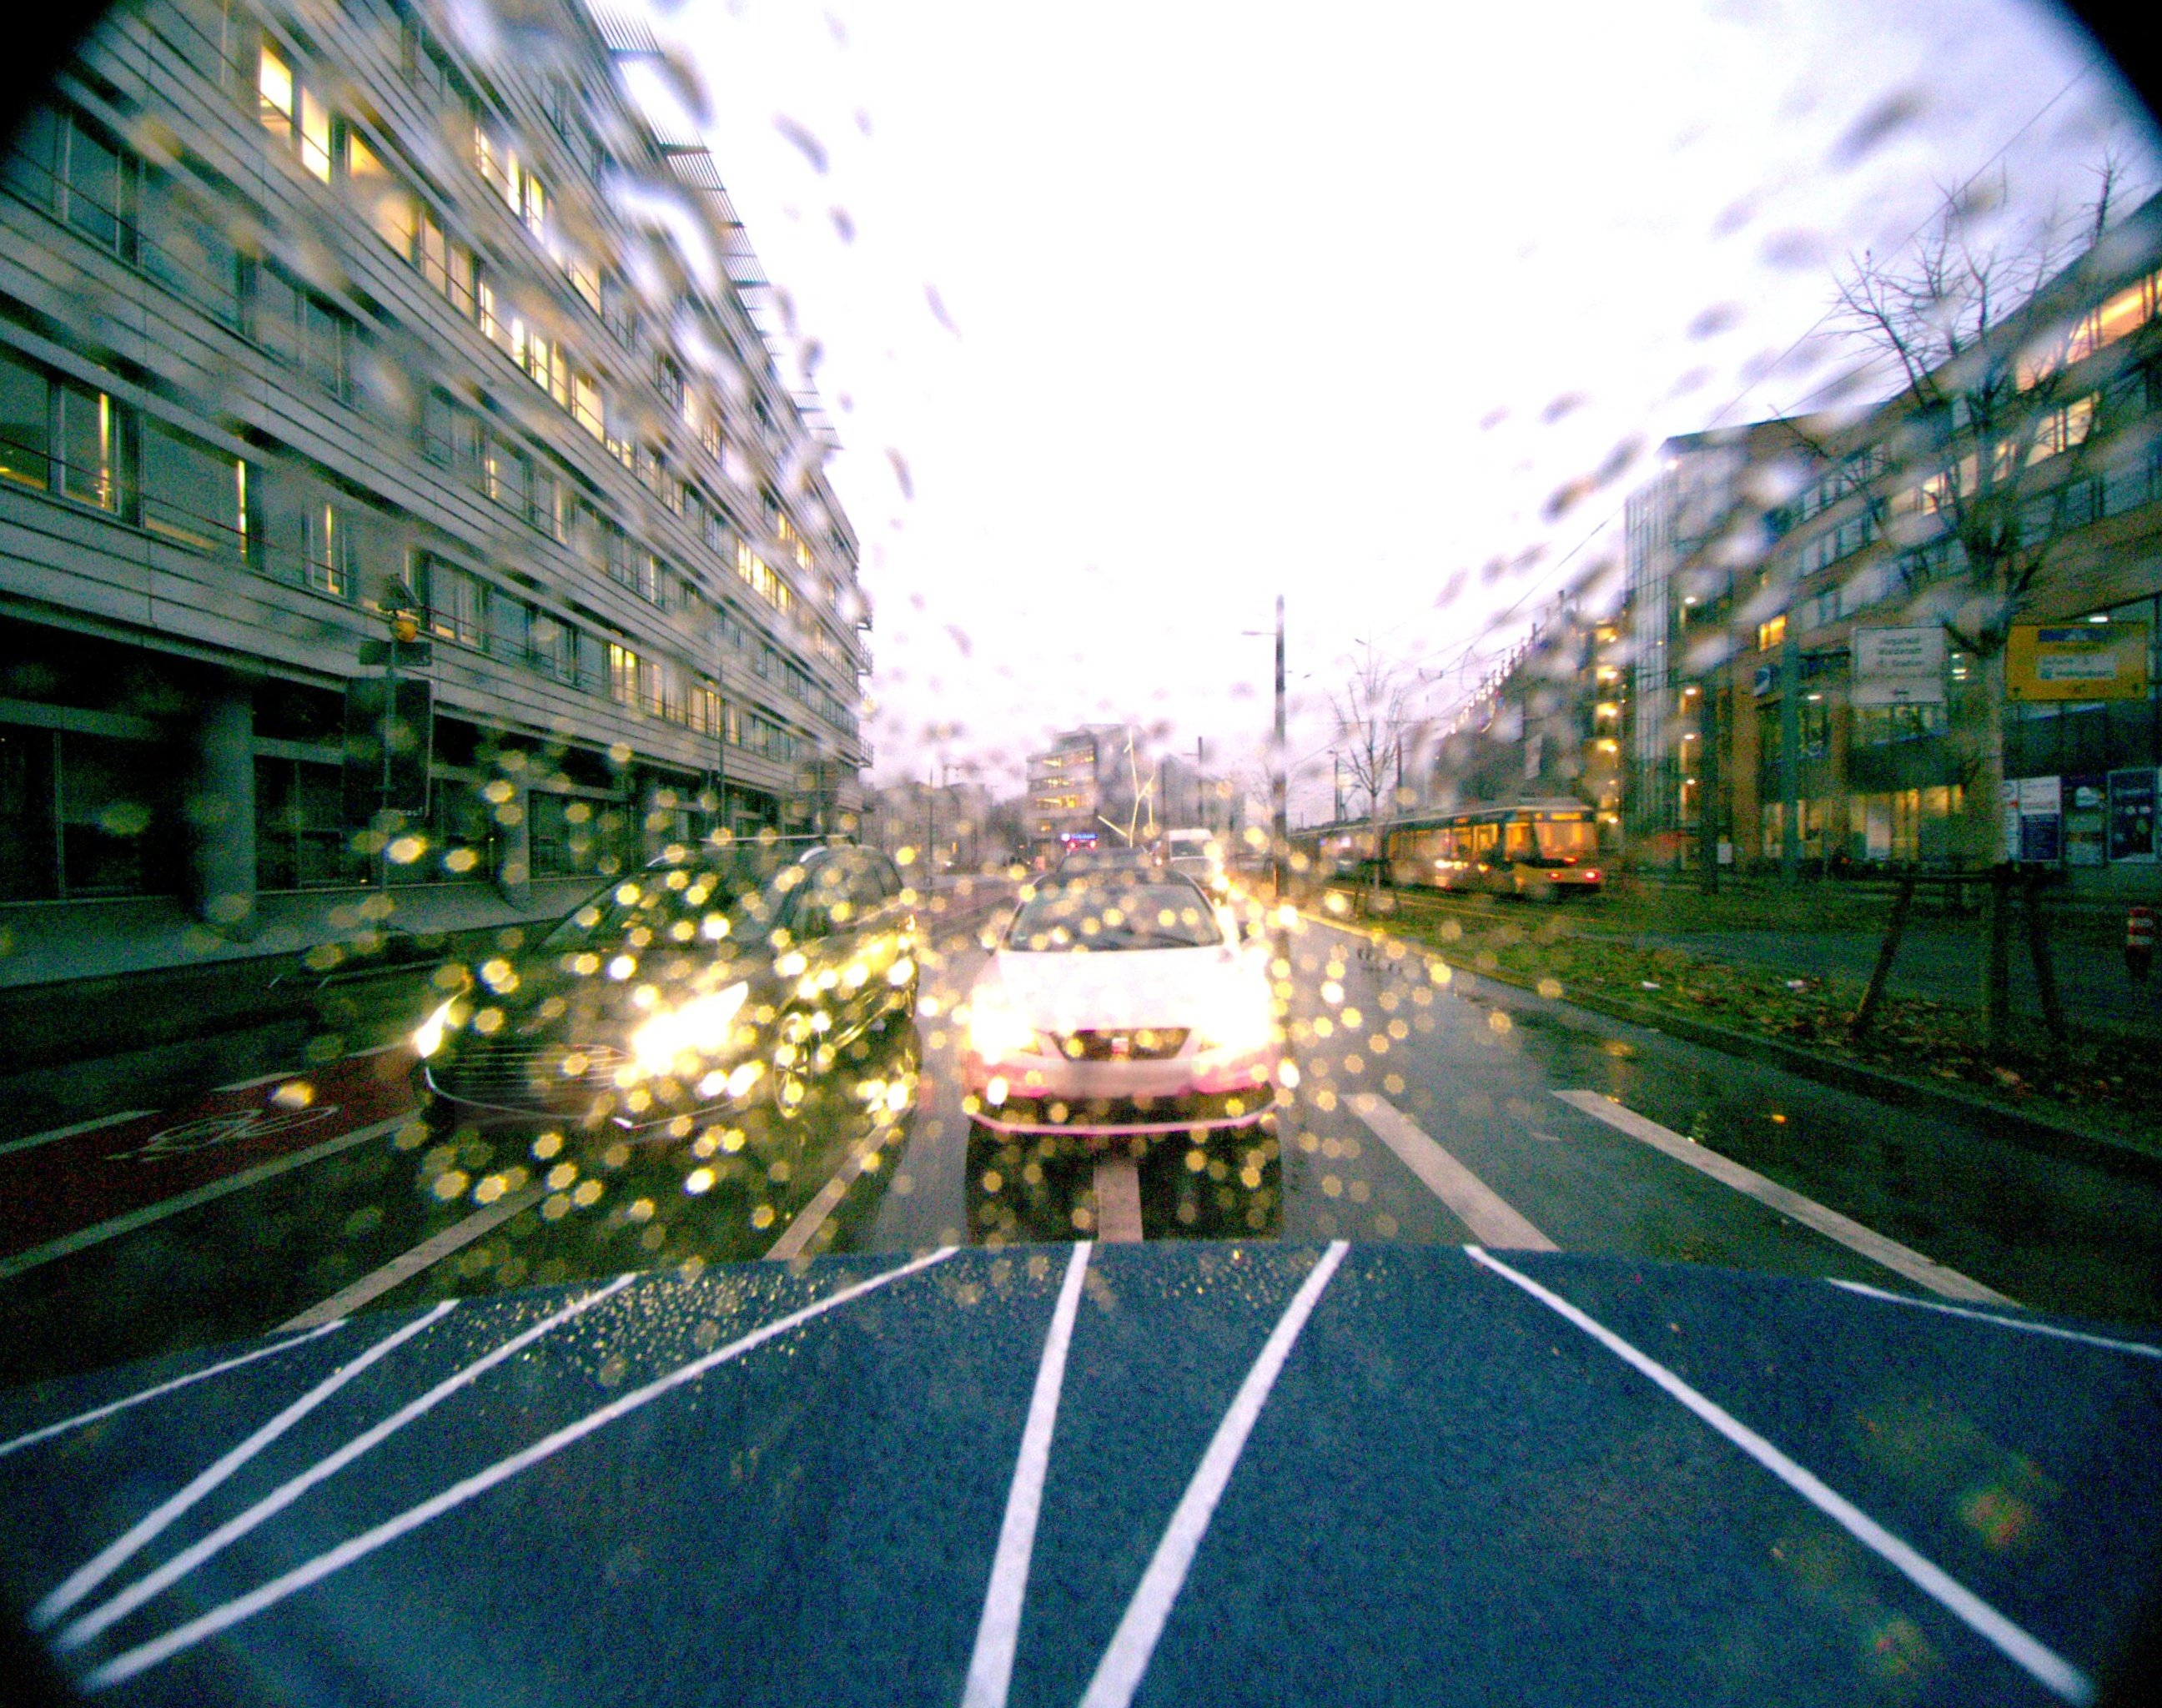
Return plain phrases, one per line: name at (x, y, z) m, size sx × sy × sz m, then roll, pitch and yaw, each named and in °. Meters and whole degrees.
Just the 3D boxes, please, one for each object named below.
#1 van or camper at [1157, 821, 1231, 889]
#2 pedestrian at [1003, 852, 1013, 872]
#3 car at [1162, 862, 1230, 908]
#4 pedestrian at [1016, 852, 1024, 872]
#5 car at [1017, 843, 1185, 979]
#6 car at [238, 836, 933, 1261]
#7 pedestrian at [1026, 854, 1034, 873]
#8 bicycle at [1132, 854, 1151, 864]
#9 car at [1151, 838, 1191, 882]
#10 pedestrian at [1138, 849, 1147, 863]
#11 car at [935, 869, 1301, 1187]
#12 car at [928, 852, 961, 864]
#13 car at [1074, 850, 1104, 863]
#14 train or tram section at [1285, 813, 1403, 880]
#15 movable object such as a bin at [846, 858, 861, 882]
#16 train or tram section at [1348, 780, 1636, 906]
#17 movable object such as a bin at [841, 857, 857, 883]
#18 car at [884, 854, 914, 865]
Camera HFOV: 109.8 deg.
van or camper at (4.520, 0.030, 31.400) m, size 2.153 × 2.517 × 5.898 m, roll -1°, pitch 0°, yaw 0°
pedestrian at (-6.411, 0.719, 66.675) m, size 0.747 × 1.692 × 0.969 m, roll 2°, pitch 1°, yaw -3°
car at (3.575, 0.951, 24.263) m, size 1.759 × 1.337 × 4.058 m, roll -1°, pitch -1°, yaw 3°
pedestrian at (-5.277, 0.688, 66.112) m, size 0.651 × 1.692 × 0.884 m, roll 1°, pitch 1°, yaw -3°
car at (0.279, 0.759, 12.196) m, size 2.169 × 1.744 × 4.542 m, roll -1°, pitch 0°, yaw 0°
car at (-2.617, 0.849, 5.632) m, size 1.887 × 1.800 × 4.671 m, roll -2°, pitch 0°, yaw 2°
pedestrian at (-4.456, 0.812, 66.110) m, size 0.616 × 1.659 × 0.884 m, roll 1°, pitch 1°, yaw -3°
bicycle at (7.643, 0.597, 95.881) m, size 2.207 × 1.182 × 0.667 m, roll 0°, pitch 1°, yaw -16°
car at (6.153, 0.362, 52.645) m, size 2.129 × 2.847 × 5.813 m, roll -1°, pitch 0°, yaw 1°
pedestrian at (7.749, 0.259, 95.901) m, size 0.894 × 1.783 × 0.667 m, roll 0°, pitch 1°, yaw -16°
car at (0.210, 0.900, 5.719) m, size 1.782 × 1.464 × 3.943 m, roll -1°, pitch 0°, yaw 1°
car at (-20.348, 0.596, 113.391) m, size 4.368 × 1.750 × 2.002 m, roll -1°, pitch 1°, yaw 17°
car at (1.111, 0.339, 106.857) m, size 3.918 × 1.699 × 1.782 m, roll -1°, pitch 1°, yaw 14°
train or tram section at (16.834, -0.461, 50.952) m, size 2.870 × 3.593 × 20.078 m, roll 0°, pitch 0°, yaw 6°
movable object such as a bin at (-13.253, 0.928, 44.274) m, size 0.666 × 1.420 × 0.840 m, roll -1°, pitch 1°, yaw -2°
train or tram section at (15.126, -0.383, 31.341) m, size 2.870 × 3.593 × 19.218 m, roll 0°, pitch 0°, yaw 4°
movable object such as a bin at (-13.257, 0.914, 43.377) m, size 0.666 × 1.420 × 0.840 m, roll -1°, pitch 1°, yaw -2°
car at (-27.842, 0.848, 116.065) m, size 3.996 × 1.663 × 2.002 m, roll -1°, pitch 1°, yaw 17°
